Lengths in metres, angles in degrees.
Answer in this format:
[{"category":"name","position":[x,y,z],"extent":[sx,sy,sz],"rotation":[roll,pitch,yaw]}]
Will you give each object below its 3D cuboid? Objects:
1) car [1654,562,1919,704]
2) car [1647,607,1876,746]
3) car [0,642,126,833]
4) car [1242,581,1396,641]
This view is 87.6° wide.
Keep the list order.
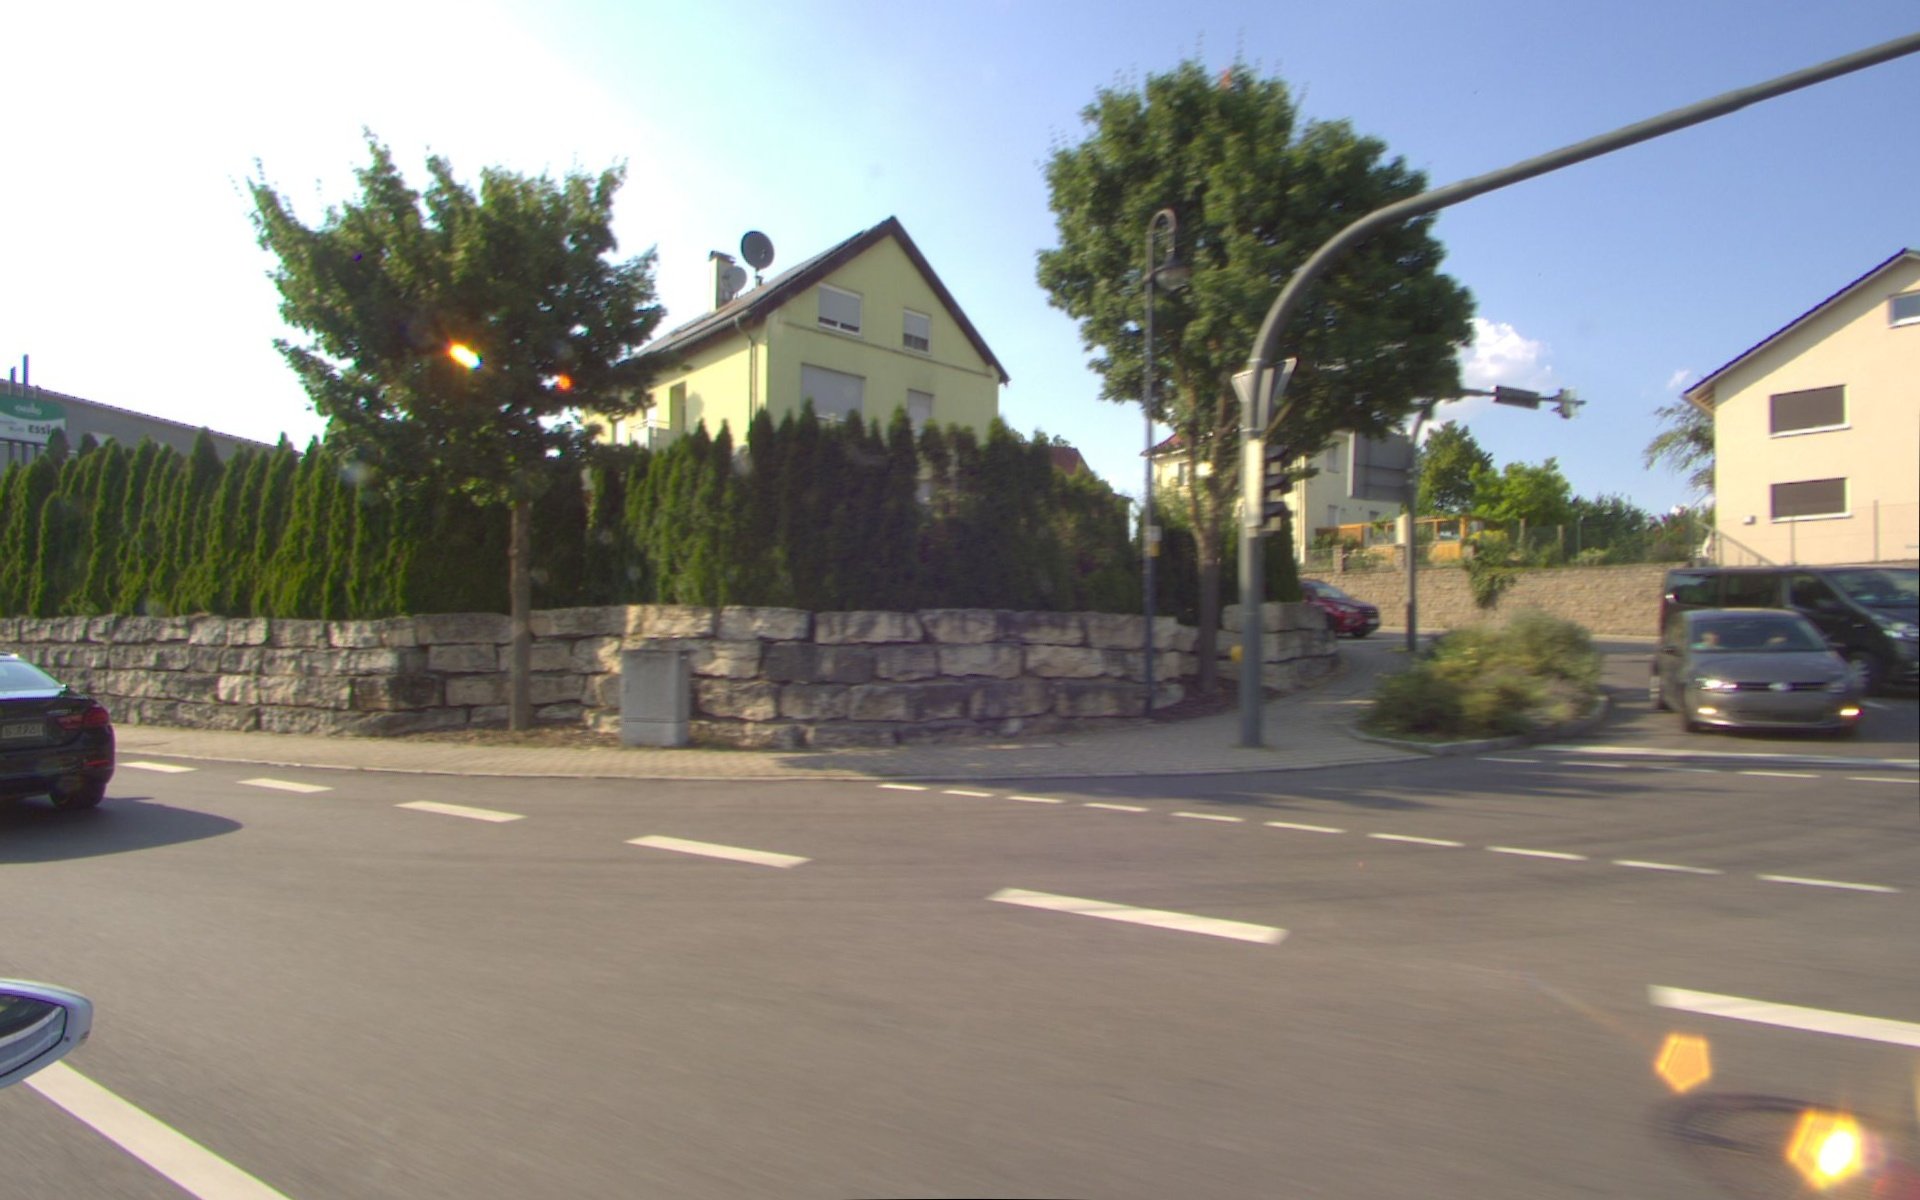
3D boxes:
[{"category":"car","position":[14.191,0.465,16.378],"extent":[1.961,1.957,5.178],"rotation":[0,0,-2]},{"category":"car","position":[9.940,0.859,12.705],"extent":[1.602,1.468,3.594],"rotation":[-2,-1,28]},{"category":"car","position":[-9.041,1.079,8.531],"extent":[4.199,1.387,1.697],"rotation":[-1,-1,31]},{"category":"car","position":[10.580,0.359,29.793],"extent":[1.973,1.664,3.978],"rotation":[1,-2,-32]}]
